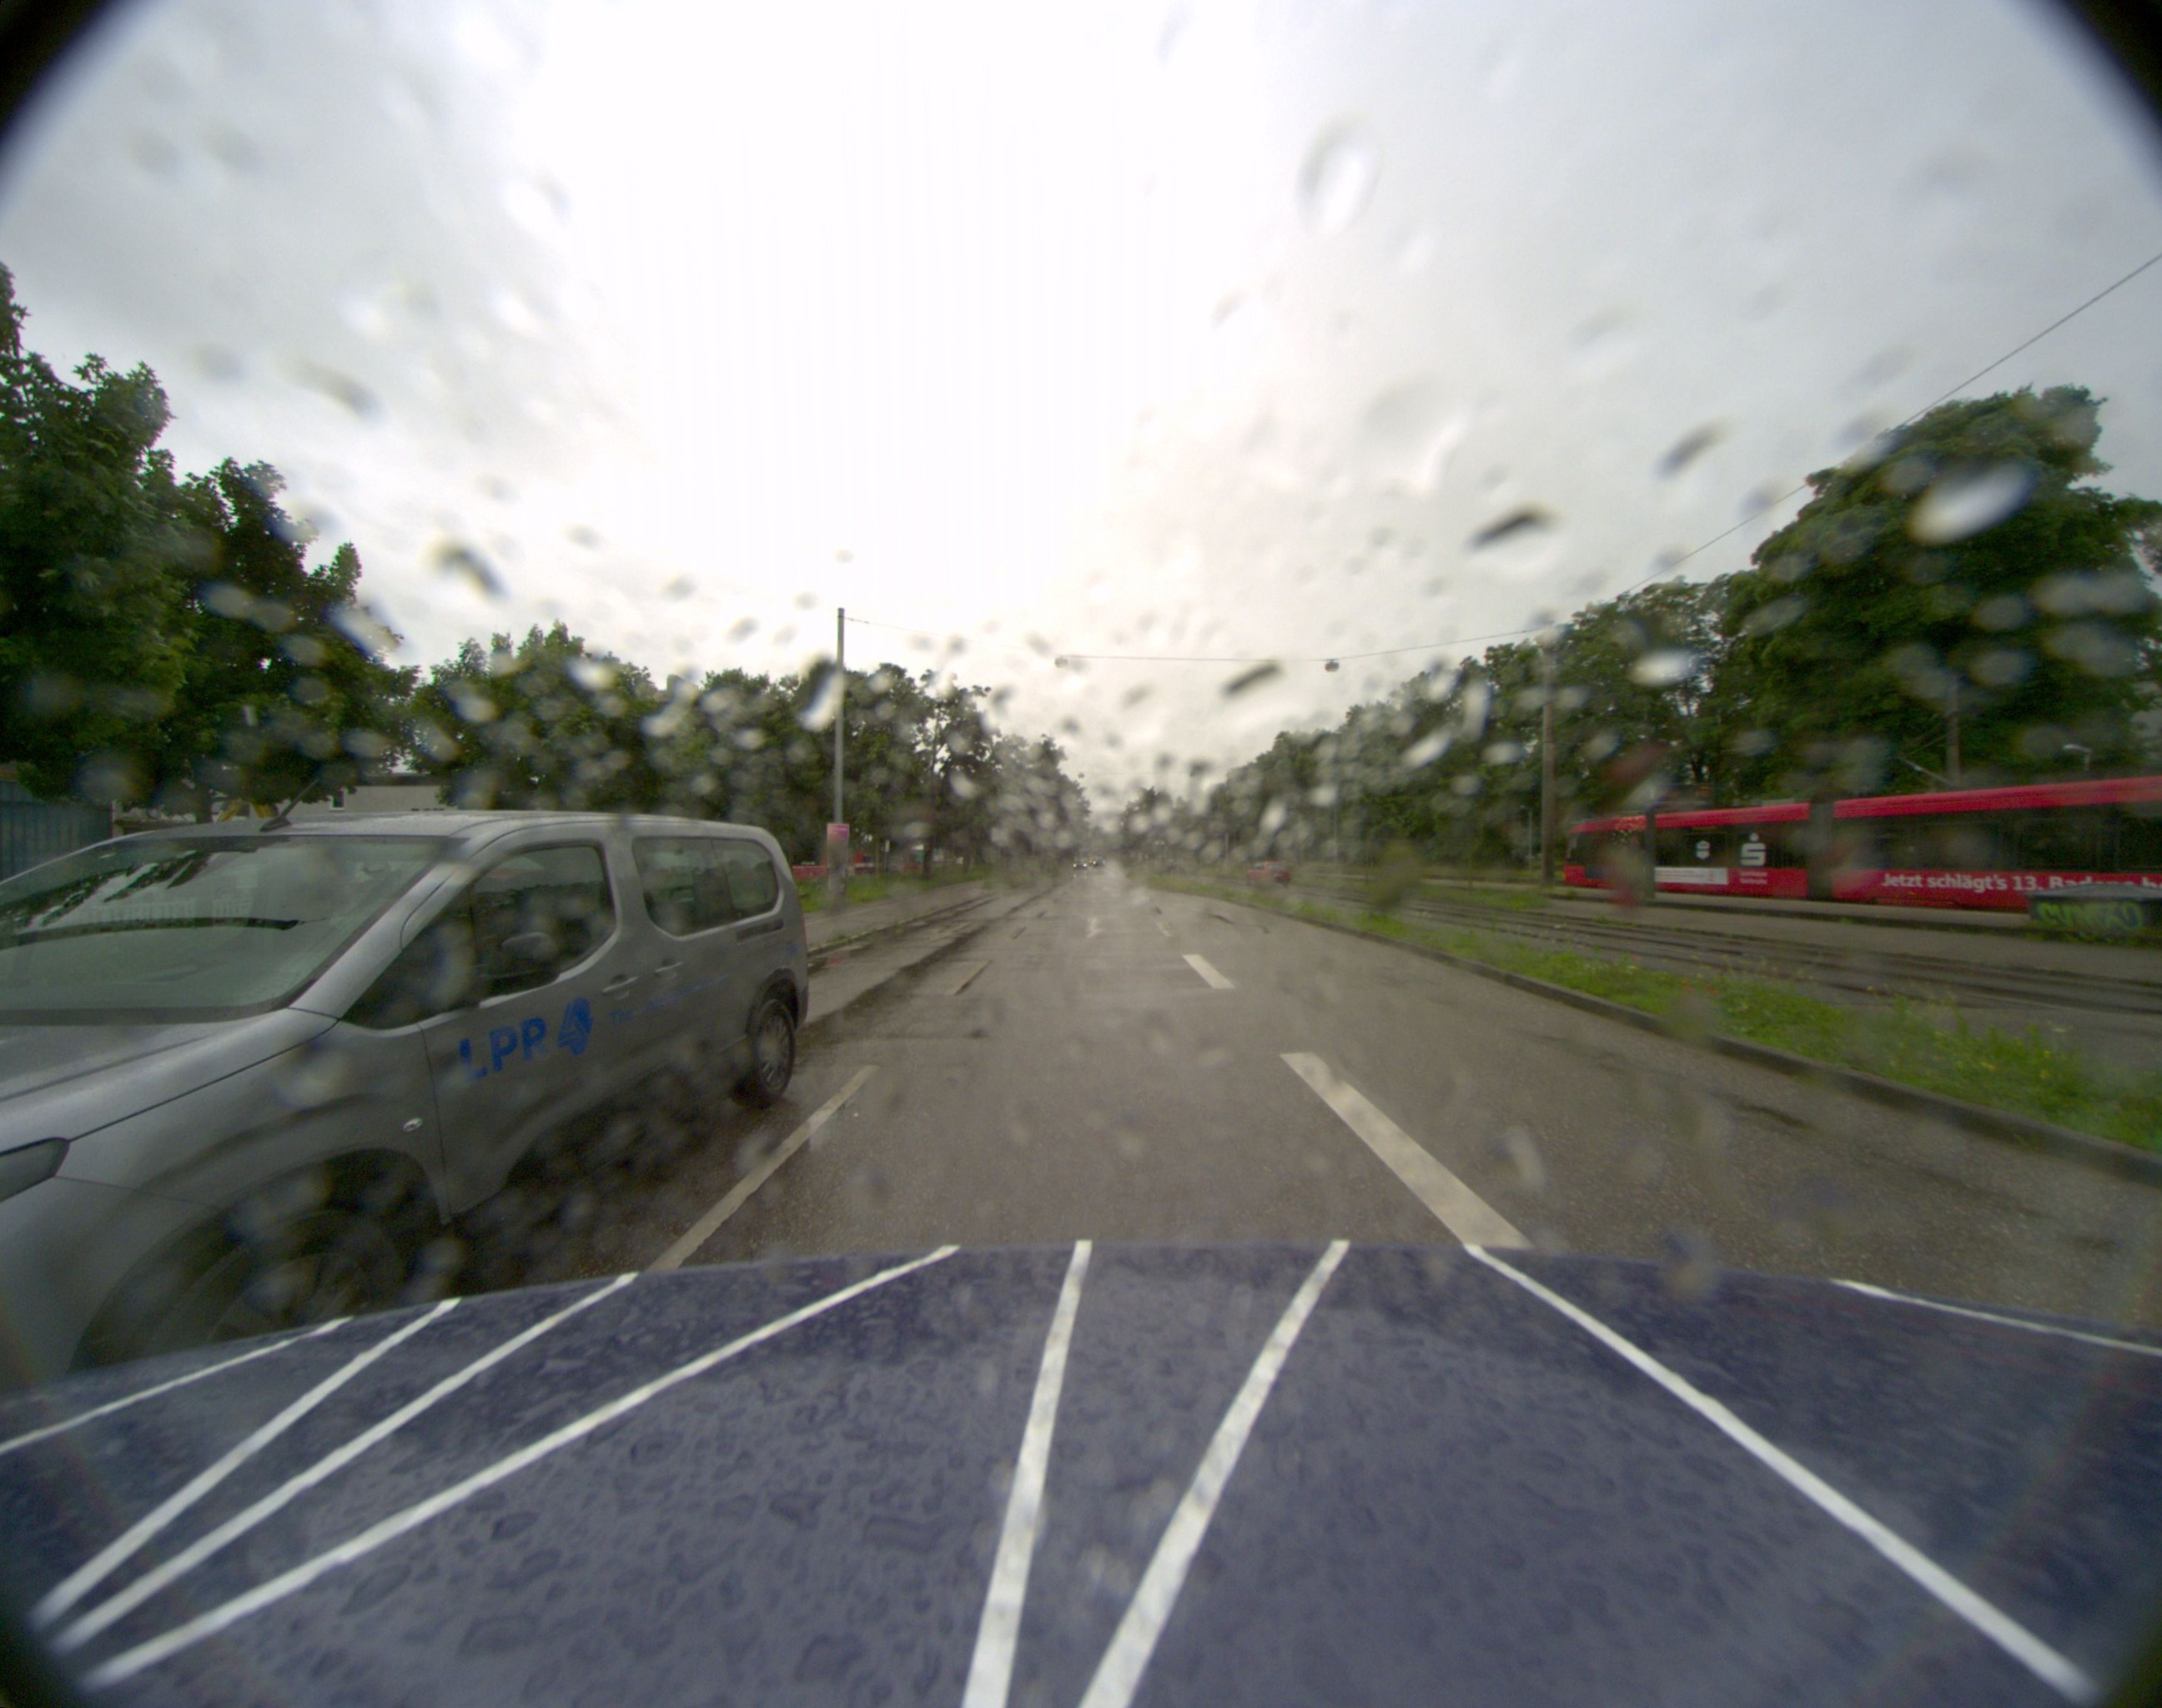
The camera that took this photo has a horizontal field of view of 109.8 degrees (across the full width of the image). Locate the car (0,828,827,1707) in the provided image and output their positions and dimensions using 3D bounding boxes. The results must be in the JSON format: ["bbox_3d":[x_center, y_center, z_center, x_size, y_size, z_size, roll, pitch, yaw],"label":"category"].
[{"bbox_3d":[-2.933,0.865,3.373,1.998,1.785,4.562,-2,0,0],"label":"car"}]

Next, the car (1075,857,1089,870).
[{"bbox_3d":[0.156,1.353,109.134,1.858,1.583,3.999,-2,1,0],"label":"car"}]

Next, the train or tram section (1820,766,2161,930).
[{"bbox_3d":[24.016,-0.132,17.791,3.542,3.381,10.261,0,0,1],"label":"train or tram section"}]

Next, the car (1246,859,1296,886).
[{"bbox_3d":[10.797,1.018,43.439,1.685,1.353,4.251,2,0,-1],"label":"car"}]

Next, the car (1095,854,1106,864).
[{"bbox_3d":[3.386,0.892,132.005,1.812,1.683,3.776,-2,1,0],"label":"car"}]

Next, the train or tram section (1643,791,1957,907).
[{"bbox_3d":[24.185,-0.147,26.431,3.542,3.392,7.903,0,0,1],"label":"train or tram section"}]

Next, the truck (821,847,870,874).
[{"bbox_3d":[-26.897,0.642,87.397,2.811,2.882,8.749,-2,1,0],"label":"truck"}]

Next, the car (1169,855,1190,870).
[{"bbox_3d":[10.110,0.903,78.338,1.741,1.428,3.820,-1,1,1],"label":"car"}]

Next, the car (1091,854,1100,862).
[{"bbox_3d":[3.317,0.903,172.003,1.898,1.602,4.000,-2,1,1],"label":"car"}]

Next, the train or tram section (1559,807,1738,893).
[{"bbox_3d":[24.303,-0.165,33.009,3.542,3.398,5.769,0,0,1],"label":"train or tram section"}]

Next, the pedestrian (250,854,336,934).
[{"bbox_3d":[-20.018,0.995,19.330,0.815,1.925,1.212,-2,1,0],"label":"pedestrian"}]

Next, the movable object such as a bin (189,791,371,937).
[{"bbox_3d":[-26.199,0.291,25.078,1.557,4.401,3.909,-2,1,2],"label":"movable object such as a bin"}]
